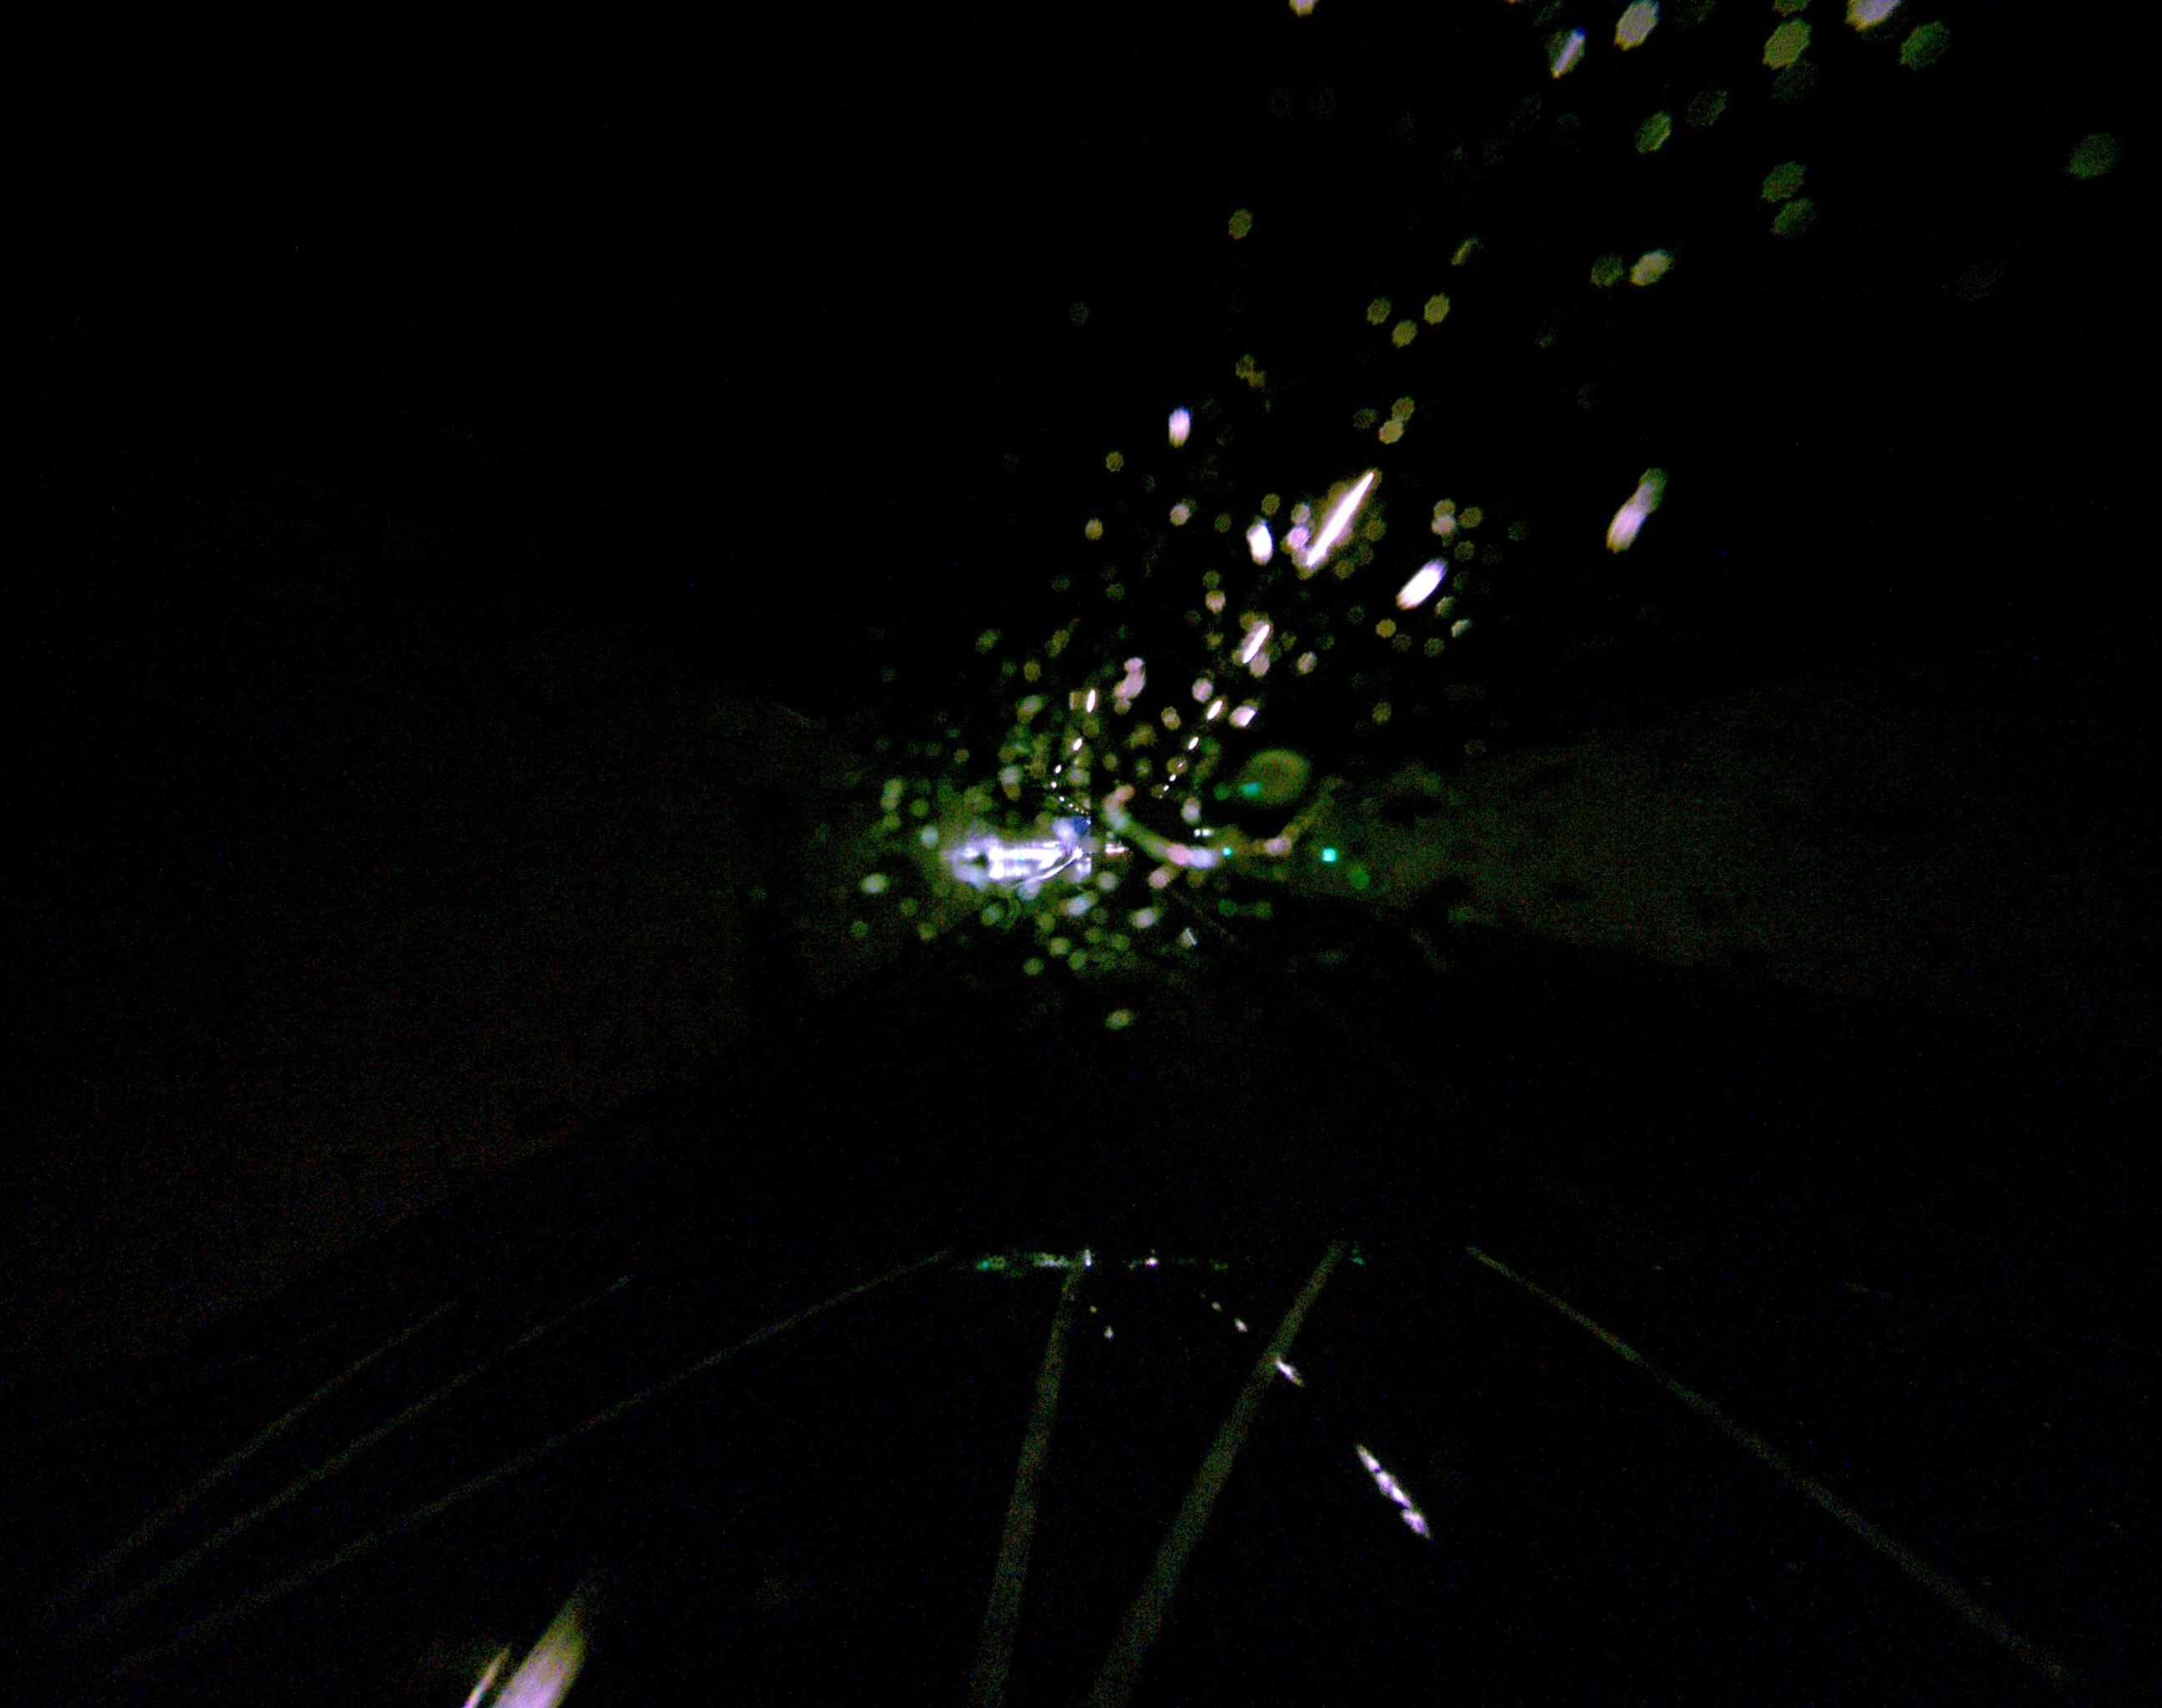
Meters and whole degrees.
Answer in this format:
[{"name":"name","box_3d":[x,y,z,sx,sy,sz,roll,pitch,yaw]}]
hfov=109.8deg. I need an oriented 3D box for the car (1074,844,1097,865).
[{"name":"car","box_3d":[0.519,0.001,78.973,2.030,2.017,4.425,-2,0,4]}]
